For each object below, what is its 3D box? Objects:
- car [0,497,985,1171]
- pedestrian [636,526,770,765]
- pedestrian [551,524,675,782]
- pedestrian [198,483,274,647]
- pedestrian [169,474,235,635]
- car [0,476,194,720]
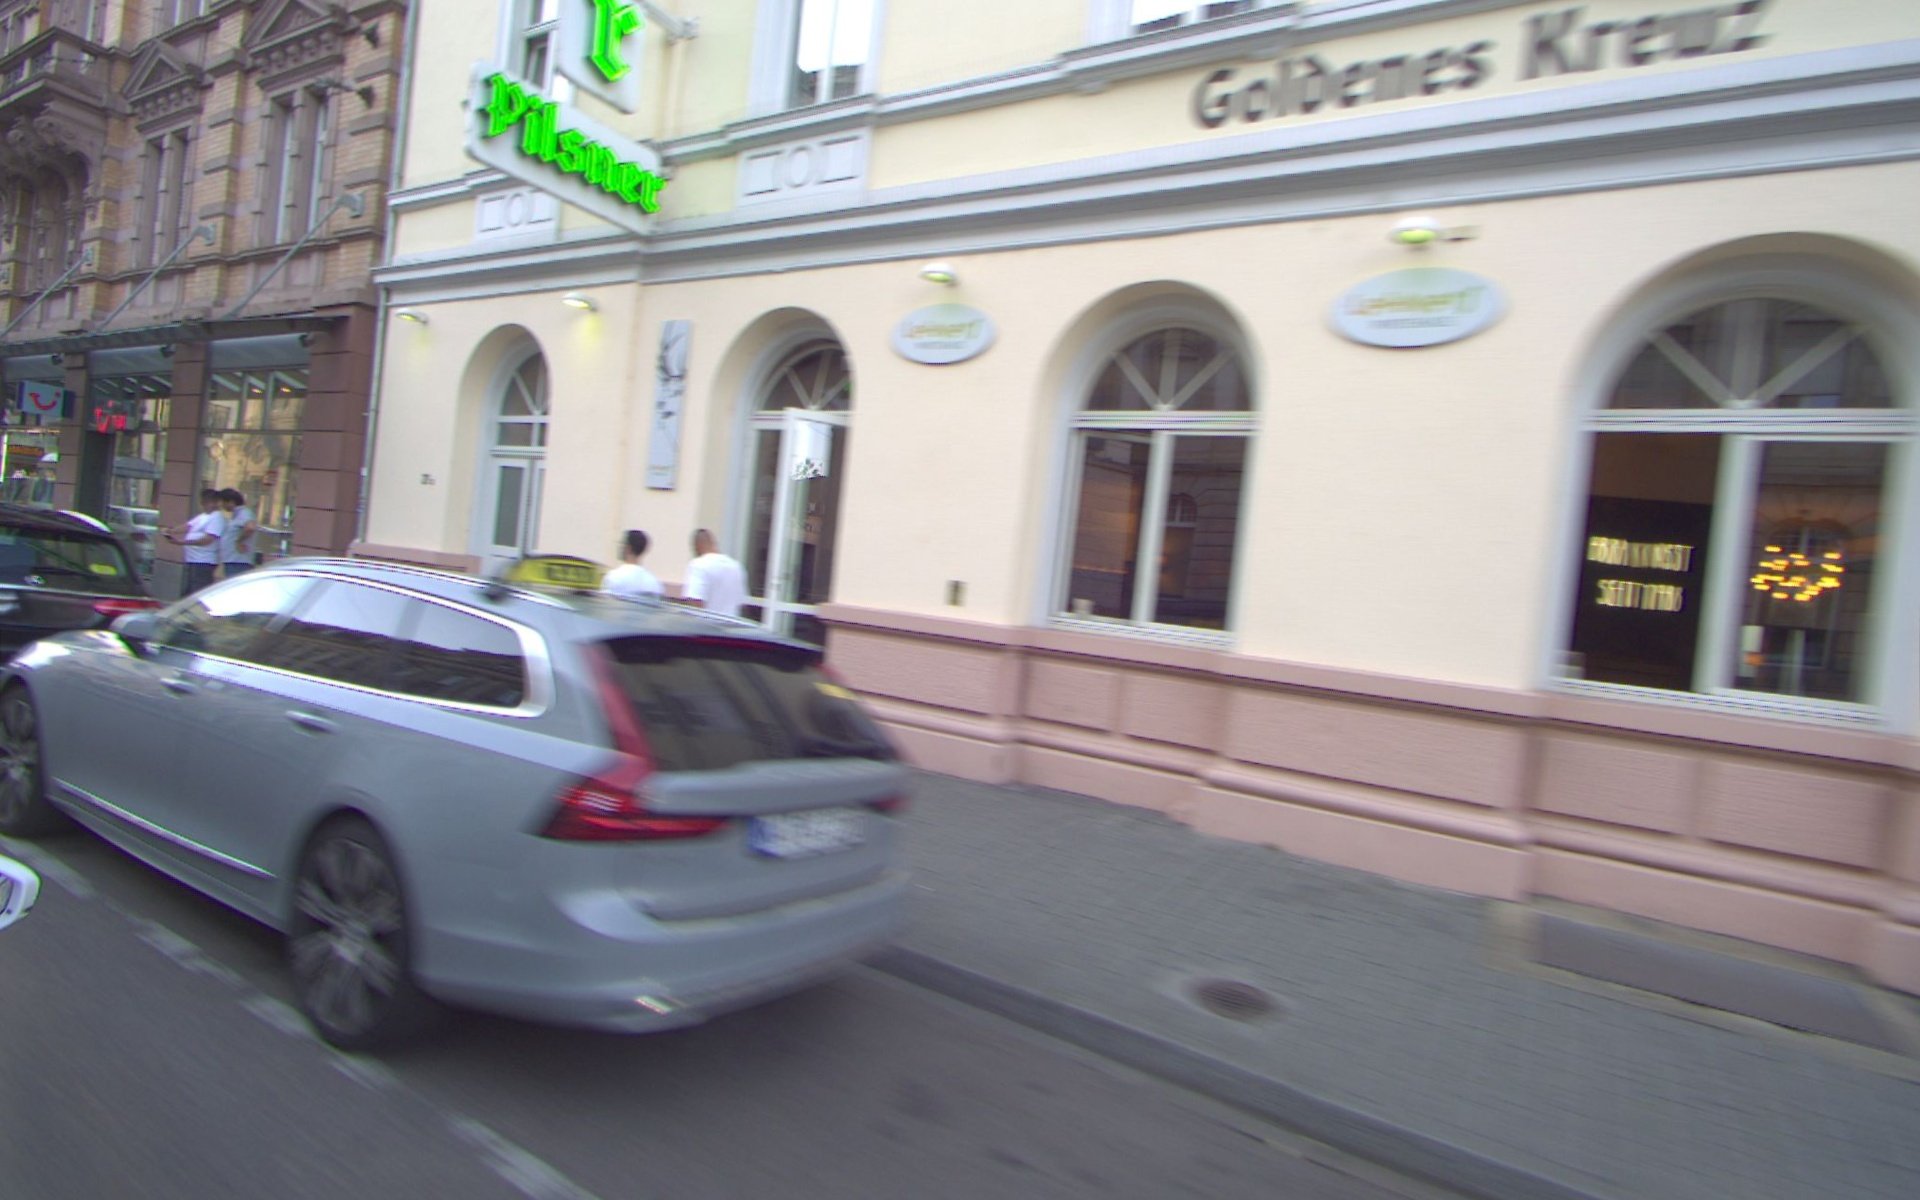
[{"bbox_3d":[-2.400,0.522,4.432,4.615,1.493,1.809,6,-2,31],"label":"car"},{"bbox_3d":[-1.974,0.323,7.760,0.542,1.714,0.759,7,5,31],"label":"pedestrian"},{"bbox_3d":[-2.437,0.352,7.060,0.616,1.714,0.480,0,6,-43],"label":"pedestrian"},{"bbox_3d":[-8.233,-0.394,11.434,0.652,1.792,0.373,7,3,28],"label":"pedestrian"},{"bbox_3d":[-8.718,-0.517,11.570,0.448,1.792,0.373,7,3,28],"label":"pedestrian"},{"bbox_3d":[-8.066,-0.174,8.019,4.372,1.609,1.734,6,-2,35],"label":"car"}]
